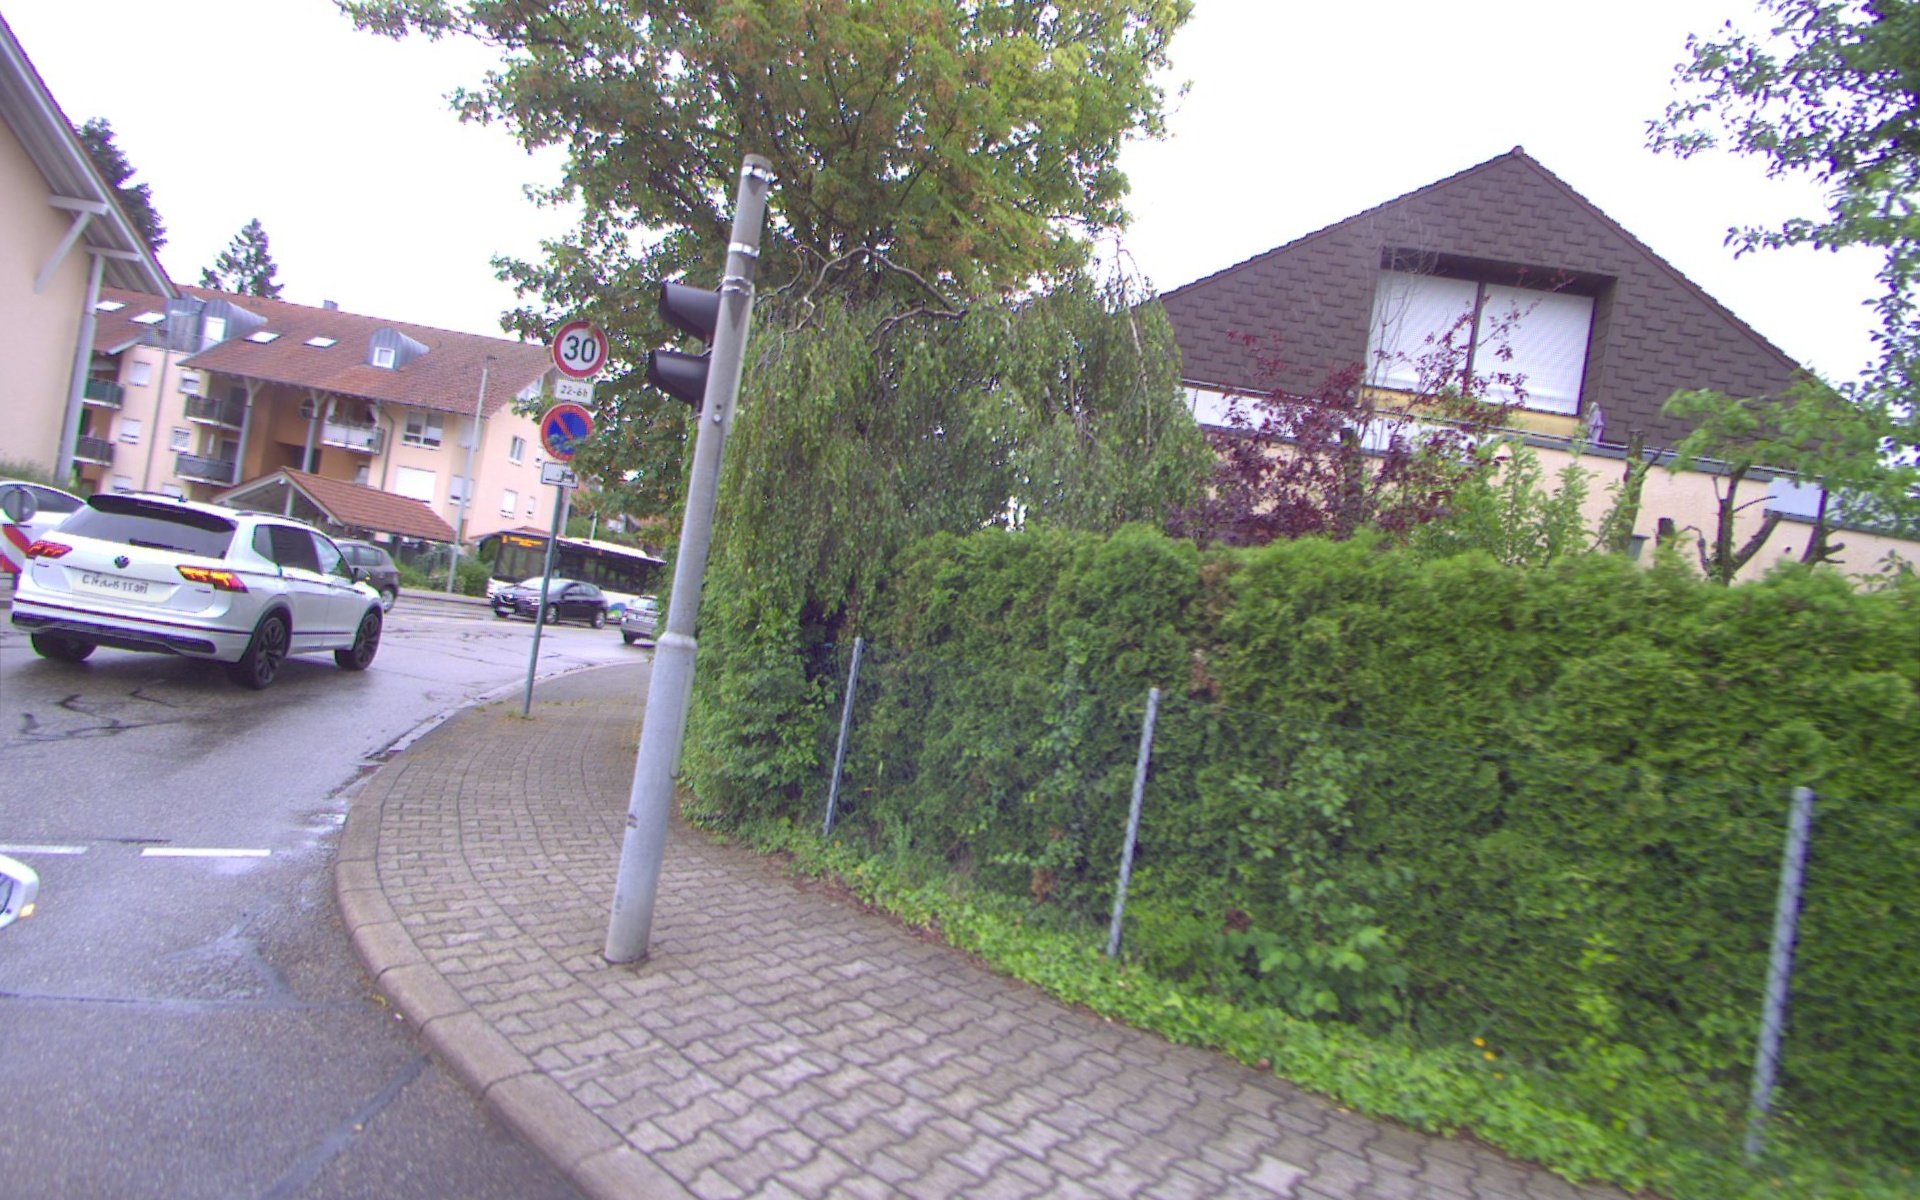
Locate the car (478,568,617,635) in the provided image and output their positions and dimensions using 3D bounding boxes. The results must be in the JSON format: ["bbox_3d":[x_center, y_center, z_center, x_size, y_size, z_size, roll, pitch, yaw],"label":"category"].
[{"bbox_3d":[-12.650,0.104,31.180,1.920,1.536,4.181,8,-3,9],"label":"car"}]

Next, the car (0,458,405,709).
[{"bbox_3d":[-7.693,-0.131,10.551,1.899,1.740,4.255,12,-2,-13],"label":"car"}]

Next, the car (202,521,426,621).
[{"bbox_3d":[-14.002,-0.556,22.110,1.794,1.502,3.946,9,-4,9],"label":"car"}]

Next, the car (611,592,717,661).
[{"bbox_3d":[-8.517,0.836,29.312,1.740,1.524,4.006,11,-4,-1],"label":"car"}]

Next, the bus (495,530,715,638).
[{"bbox_3d":[-13.560,-0.426,39.622,2.508,3.034,9.212,7,-2,21],"label":"bus"}]

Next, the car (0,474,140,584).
[{"bbox_3d":[-17.692,-1.443,18.024,1.919,1.744,4.604,9,-2,1],"label":"car"}]

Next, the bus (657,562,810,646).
[{"bbox_3d":[-10.506,0.354,47.870,2.546,3.034,8.412,7,-2,21],"label":"bus"}]
